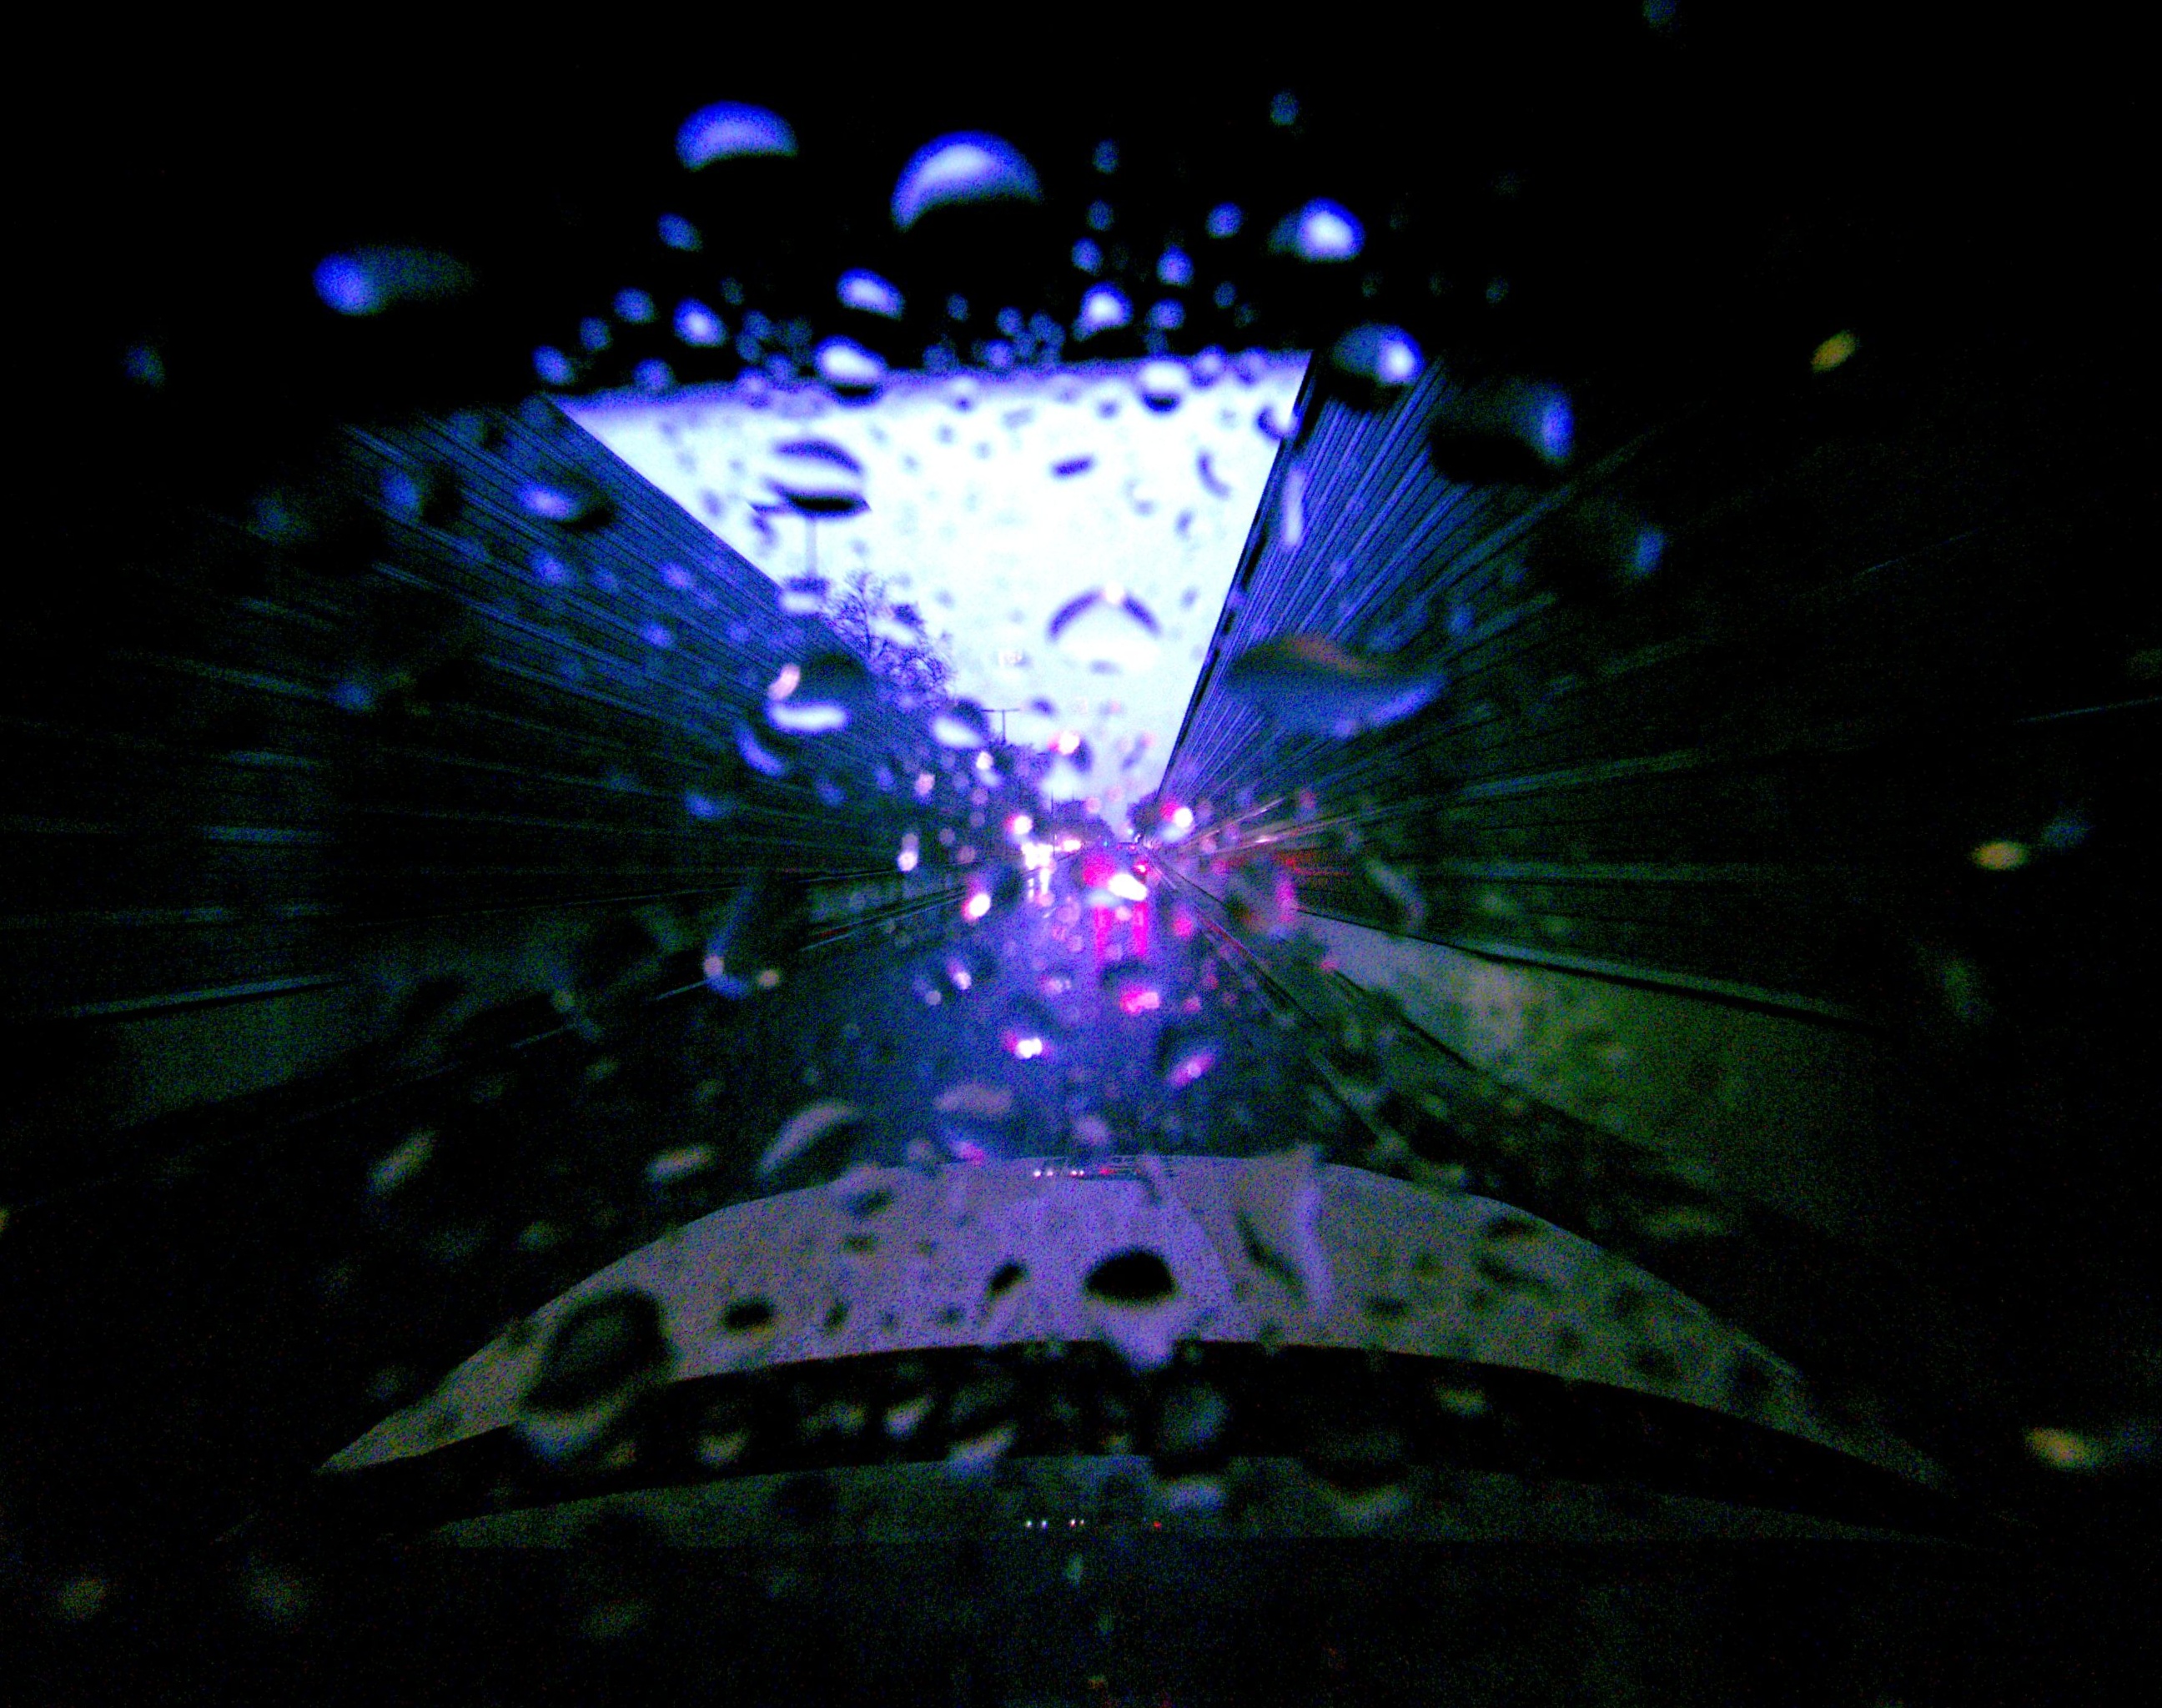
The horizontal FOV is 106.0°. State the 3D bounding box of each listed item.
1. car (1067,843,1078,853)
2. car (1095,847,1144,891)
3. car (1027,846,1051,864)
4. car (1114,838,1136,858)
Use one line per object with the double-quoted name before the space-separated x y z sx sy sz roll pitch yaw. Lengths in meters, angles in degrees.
"car" -1.386 -1.001 129.964 1.565 1.470 3.690 -1 2 3
"car" 1.332 0.497 27.595 1.525 1.397 3.436 1 -1 3
"car" -4.035 0.081 78.503 1.872 1.621 4.003 0 -2 3
"car" 3.955 -0.530 74.205 1.873 1.621 4.000 1 -2 1
